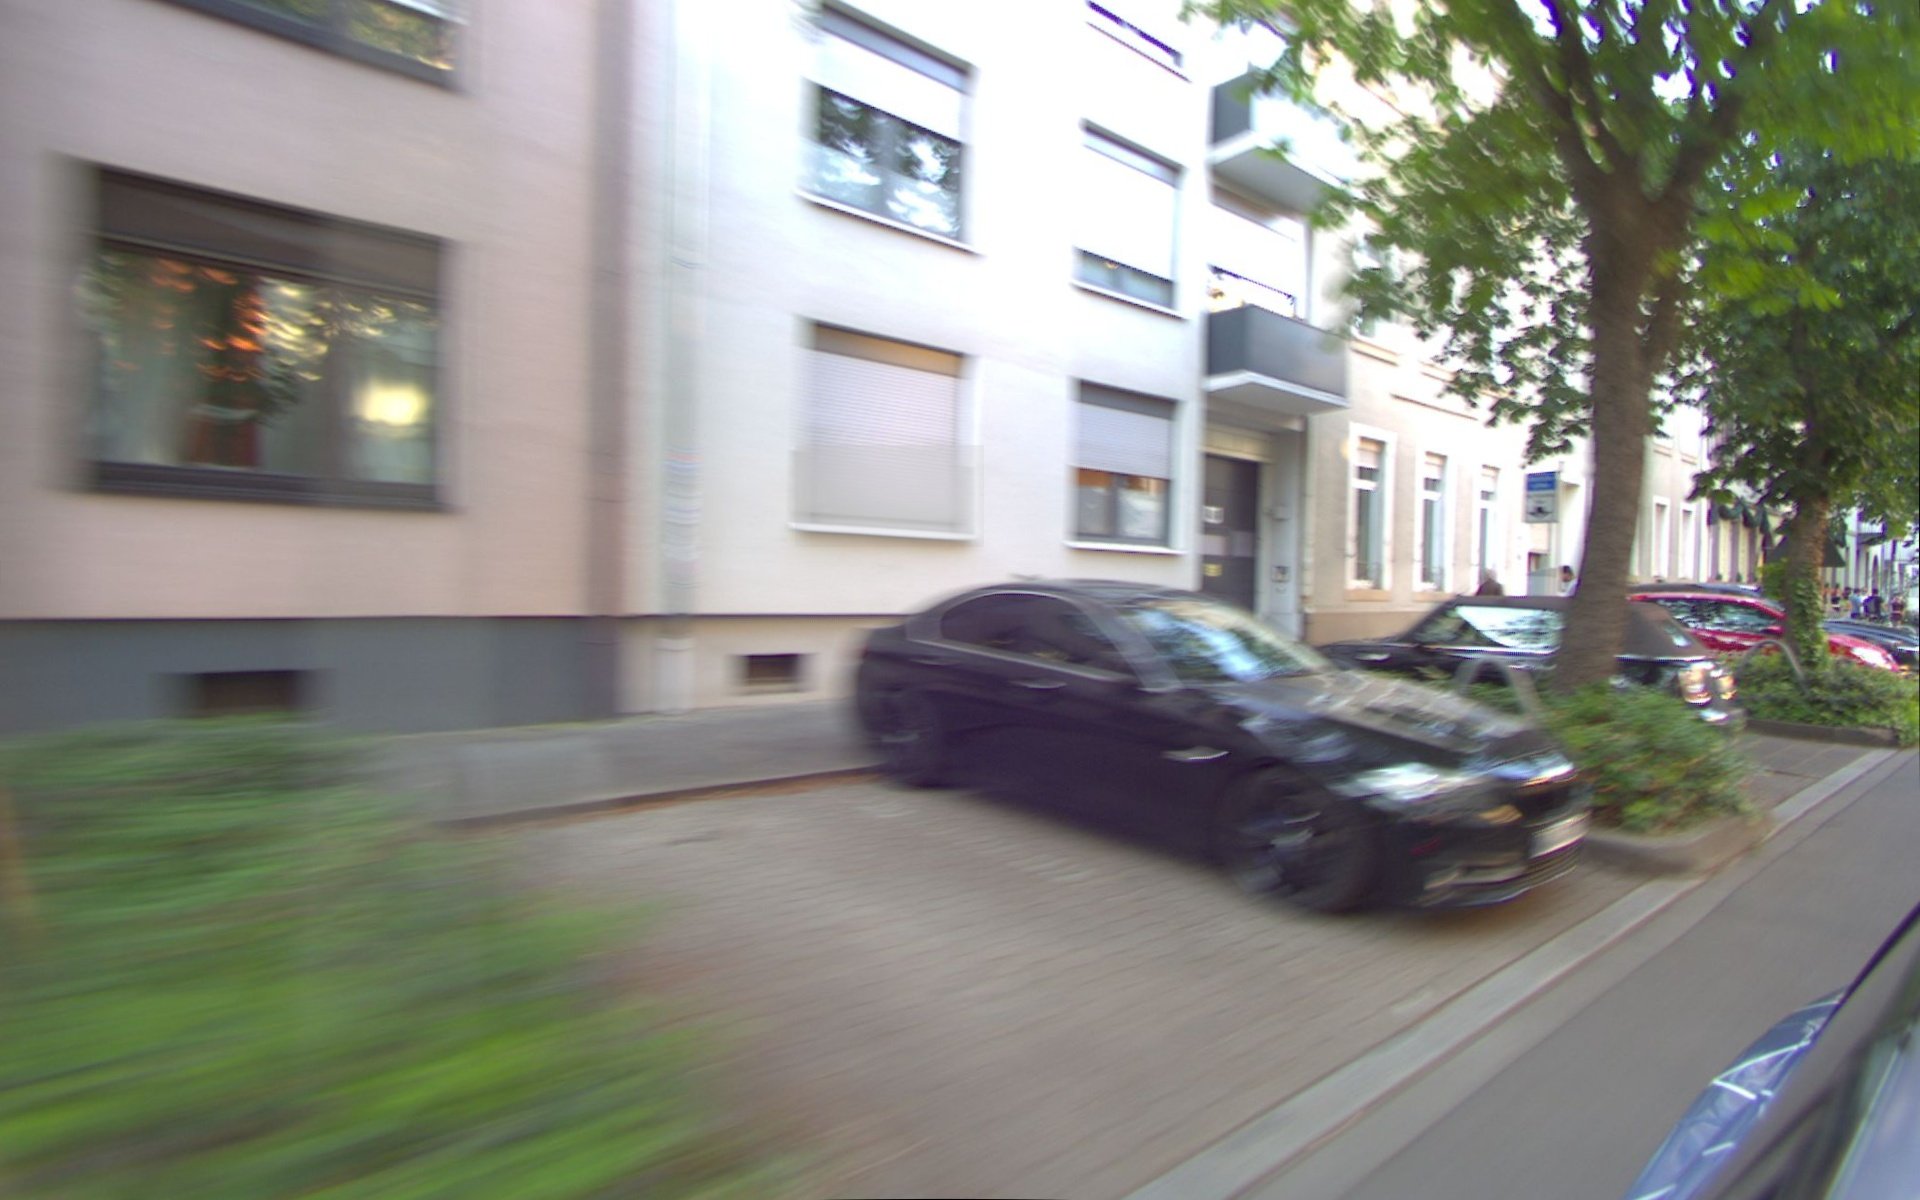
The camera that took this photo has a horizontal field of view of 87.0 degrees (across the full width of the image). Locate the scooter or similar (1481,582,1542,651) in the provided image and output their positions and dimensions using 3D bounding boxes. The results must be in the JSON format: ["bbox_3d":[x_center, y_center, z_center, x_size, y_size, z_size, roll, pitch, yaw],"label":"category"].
[{"bbox_3d":[9.805,0.286,17.993,0.816,1.167,0.656,1,1,-39],"label":"scooter or similar"}]

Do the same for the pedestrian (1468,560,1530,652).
[{"bbox_3d":[9.386,0.096,17.631,0.816,1.555,0.656,1,1,-40],"label":"pedestrian"}]

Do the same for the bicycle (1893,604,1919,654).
[{"bbox_3d":[23.939,0.741,24.548,0.590,1.193,1.833,1,2,-41],"label":"bicycle"}]

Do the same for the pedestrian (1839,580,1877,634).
[{"bbox_3d":[30.443,0.240,34.327,0.774,1.760,0.676,4,1,34],"label":"pedestrian"}]

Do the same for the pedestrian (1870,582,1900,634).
[{"bbox_3d":[32.044,0.290,35.059,0.612,1.760,0.616,2,1,-40],"label":"pedestrian"}]

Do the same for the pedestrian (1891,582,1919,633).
[{"bbox_3d":[33.995,0.274,36.339,0.706,1.760,0.715,4,1,41],"label":"pedestrian"}]

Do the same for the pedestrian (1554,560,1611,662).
[{"bbox_3d":[11.059,0.174,17.998,0.683,1.758,0.670,2,1,19],"label":"pedestrian"}]

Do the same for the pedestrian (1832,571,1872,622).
[{"bbox_3d":[32.173,-0.124,36.508,0.729,1.760,0.729,3,1,-13],"label":"pedestrian"}]

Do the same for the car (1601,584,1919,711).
[{"bbox_3d":[11.524,0.578,14.567,1.867,1.470,3.489,1,2,-42],"label":"car"}]

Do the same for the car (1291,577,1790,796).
[{"bbox_3d":[5.095,0.594,9.174,1.867,1.470,3.489,1,2,-42],"label":"car"}]

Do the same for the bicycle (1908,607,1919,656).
[{"bbox_3d":[23.219,0.776,23.371,1.835,1.149,0.734,3,2,40],"label":"bicycle"}]

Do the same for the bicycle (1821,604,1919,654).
[{"bbox_3d":[22.790,0.712,25.363,0.492,1.121,1.795,1,2,-45],"label":"bicycle"}]

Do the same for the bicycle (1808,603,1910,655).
[{"bbox_3d":[21.848,0.686,24.645,1.793,1.157,0.659,3,2,41],"label":"bicycle"}]

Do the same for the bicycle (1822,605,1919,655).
[{"bbox_3d":[22.469,0.717,24.950,0.492,1.121,1.795,1,2,-45],"label":"bicycle"}]

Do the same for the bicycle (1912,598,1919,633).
[{"bbox_3d":[35.652,0.633,36.493,1.793,1.247,0.663,5,3,41],"label":"bicycle"}]

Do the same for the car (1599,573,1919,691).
[{"bbox_3d":[13.584,0.442,16.996,1.865,1.676,4.437,1,1,-38],"label":"car"}]

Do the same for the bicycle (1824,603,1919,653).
[{"bbox_3d":[23.378,0.695,25.964,1.793,1.157,0.641,3,2,42],"label":"bicycle"}]

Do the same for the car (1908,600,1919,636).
[{"bbox_3d":[40.146,0.897,39.490,1.853,1.410,4.410,0,4,-42],"label":"car"}]

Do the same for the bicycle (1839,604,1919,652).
[{"bbox_3d":[24.107,0.715,26.342,1.795,1.142,0.653,3,2,45],"label":"bicycle"}]

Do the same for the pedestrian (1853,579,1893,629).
[{"bbox_3d":[33.068,0.138,36.664,0.732,1.760,0.716,3,1,-20],"label":"pedestrian"}]

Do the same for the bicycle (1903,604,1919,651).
[{"bbox_3d":[25.551,0.752,25.995,0.661,1.193,1.833,1,2,-41],"label":"bicycle"}]

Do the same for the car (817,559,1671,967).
[{"bbox_3d":[1.242,0.538,6.204,1.999,1.439,4.722,1,2,-40],"label":"car"}]
